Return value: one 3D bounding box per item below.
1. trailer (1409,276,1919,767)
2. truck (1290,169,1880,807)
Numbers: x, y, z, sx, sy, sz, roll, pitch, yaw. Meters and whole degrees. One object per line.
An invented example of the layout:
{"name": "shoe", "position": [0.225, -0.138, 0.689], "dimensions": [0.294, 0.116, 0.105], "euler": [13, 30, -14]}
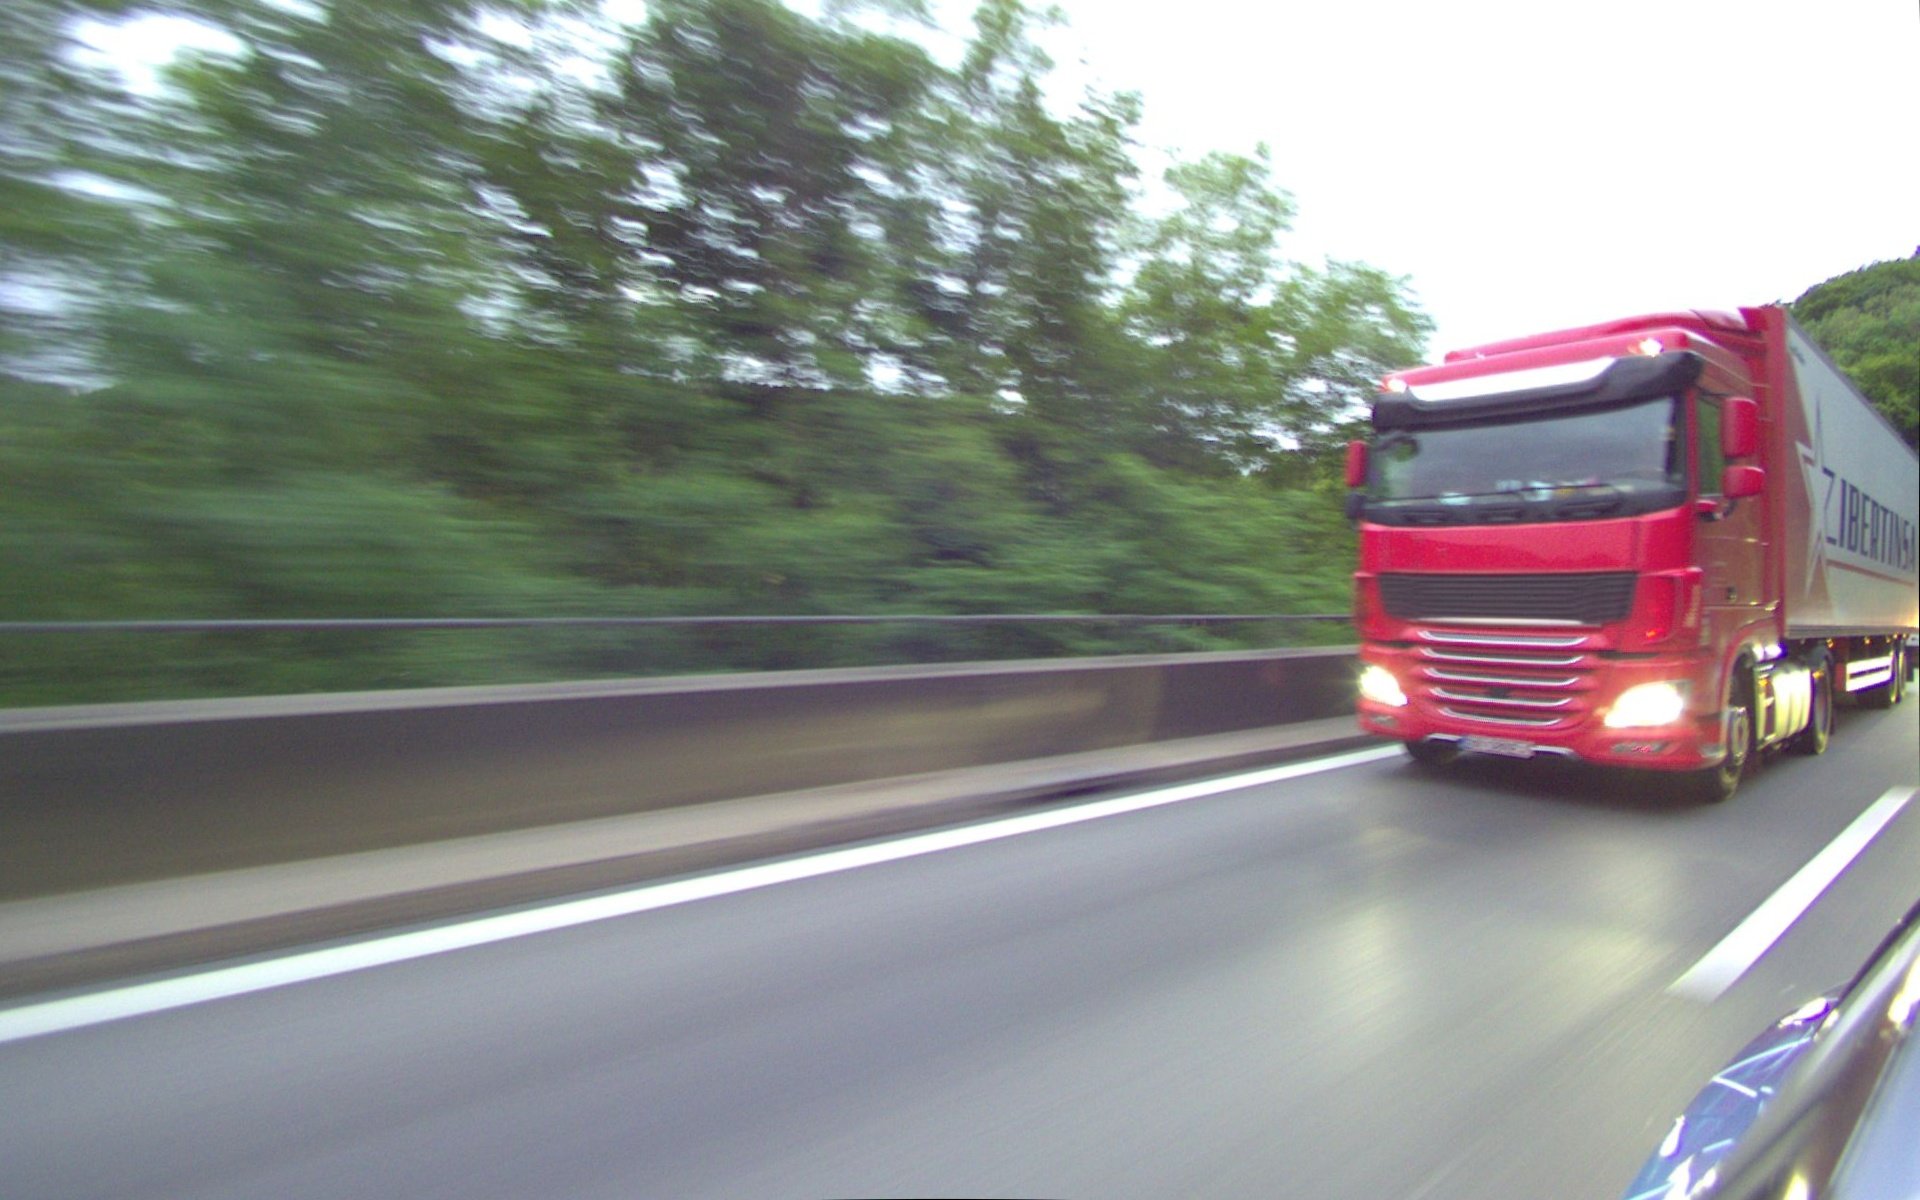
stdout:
{"name": "trailer", "position": [11.057, -0.555, 14.047], "dimensions": [13.970, 4.022, 3.100], "euler": [0, -4, -41]}
{"name": "truck", "position": [6.336, -0.685, 9.878], "dimensions": [6.332, 4.198, 3.074], "euler": [1, -2, -40]}
